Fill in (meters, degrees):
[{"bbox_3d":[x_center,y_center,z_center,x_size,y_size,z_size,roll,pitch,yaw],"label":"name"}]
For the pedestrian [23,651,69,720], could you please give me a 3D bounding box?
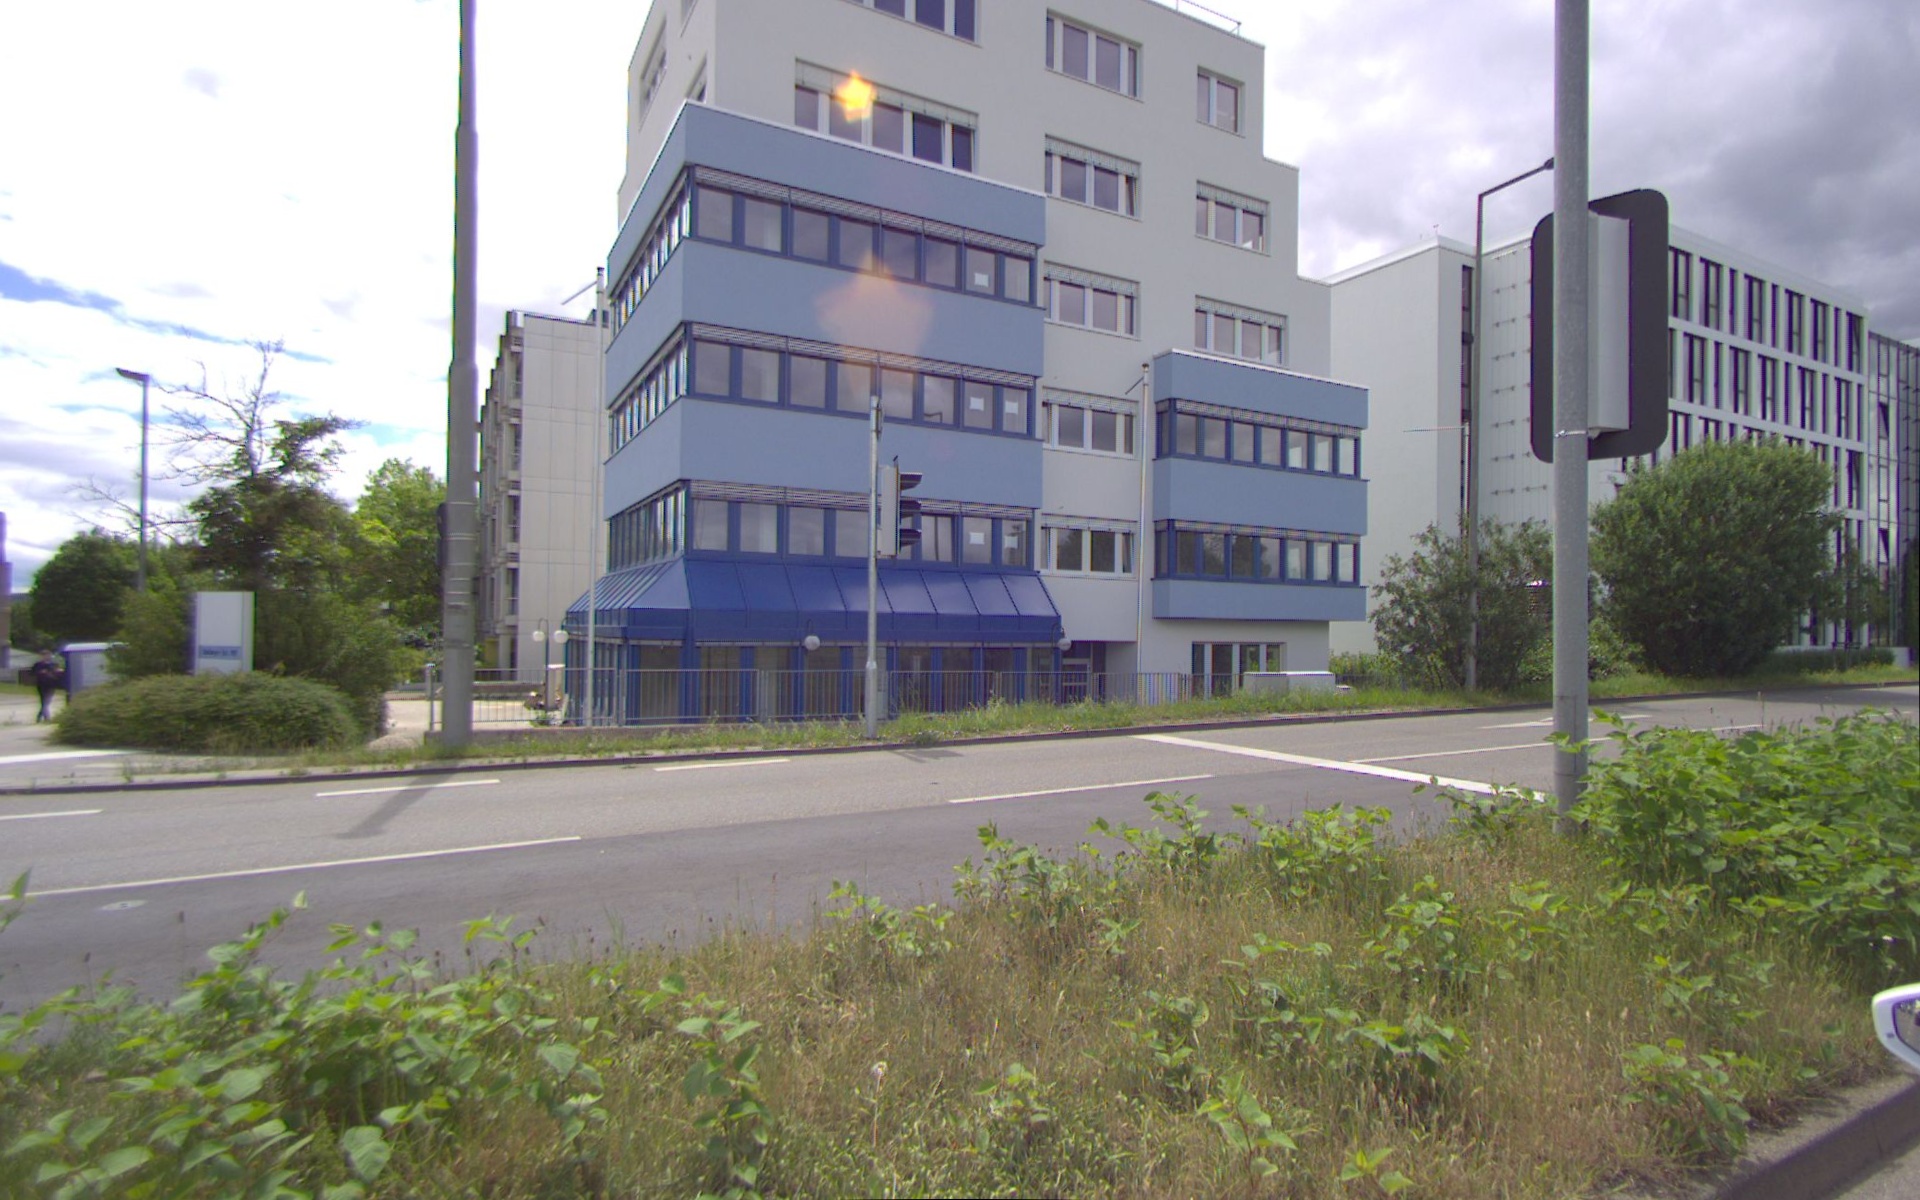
[{"bbox_3d":[-22.520,2.105,24.765,0.613,1.666,0.745,1,-5,-28],"label":"pedestrian"}]
